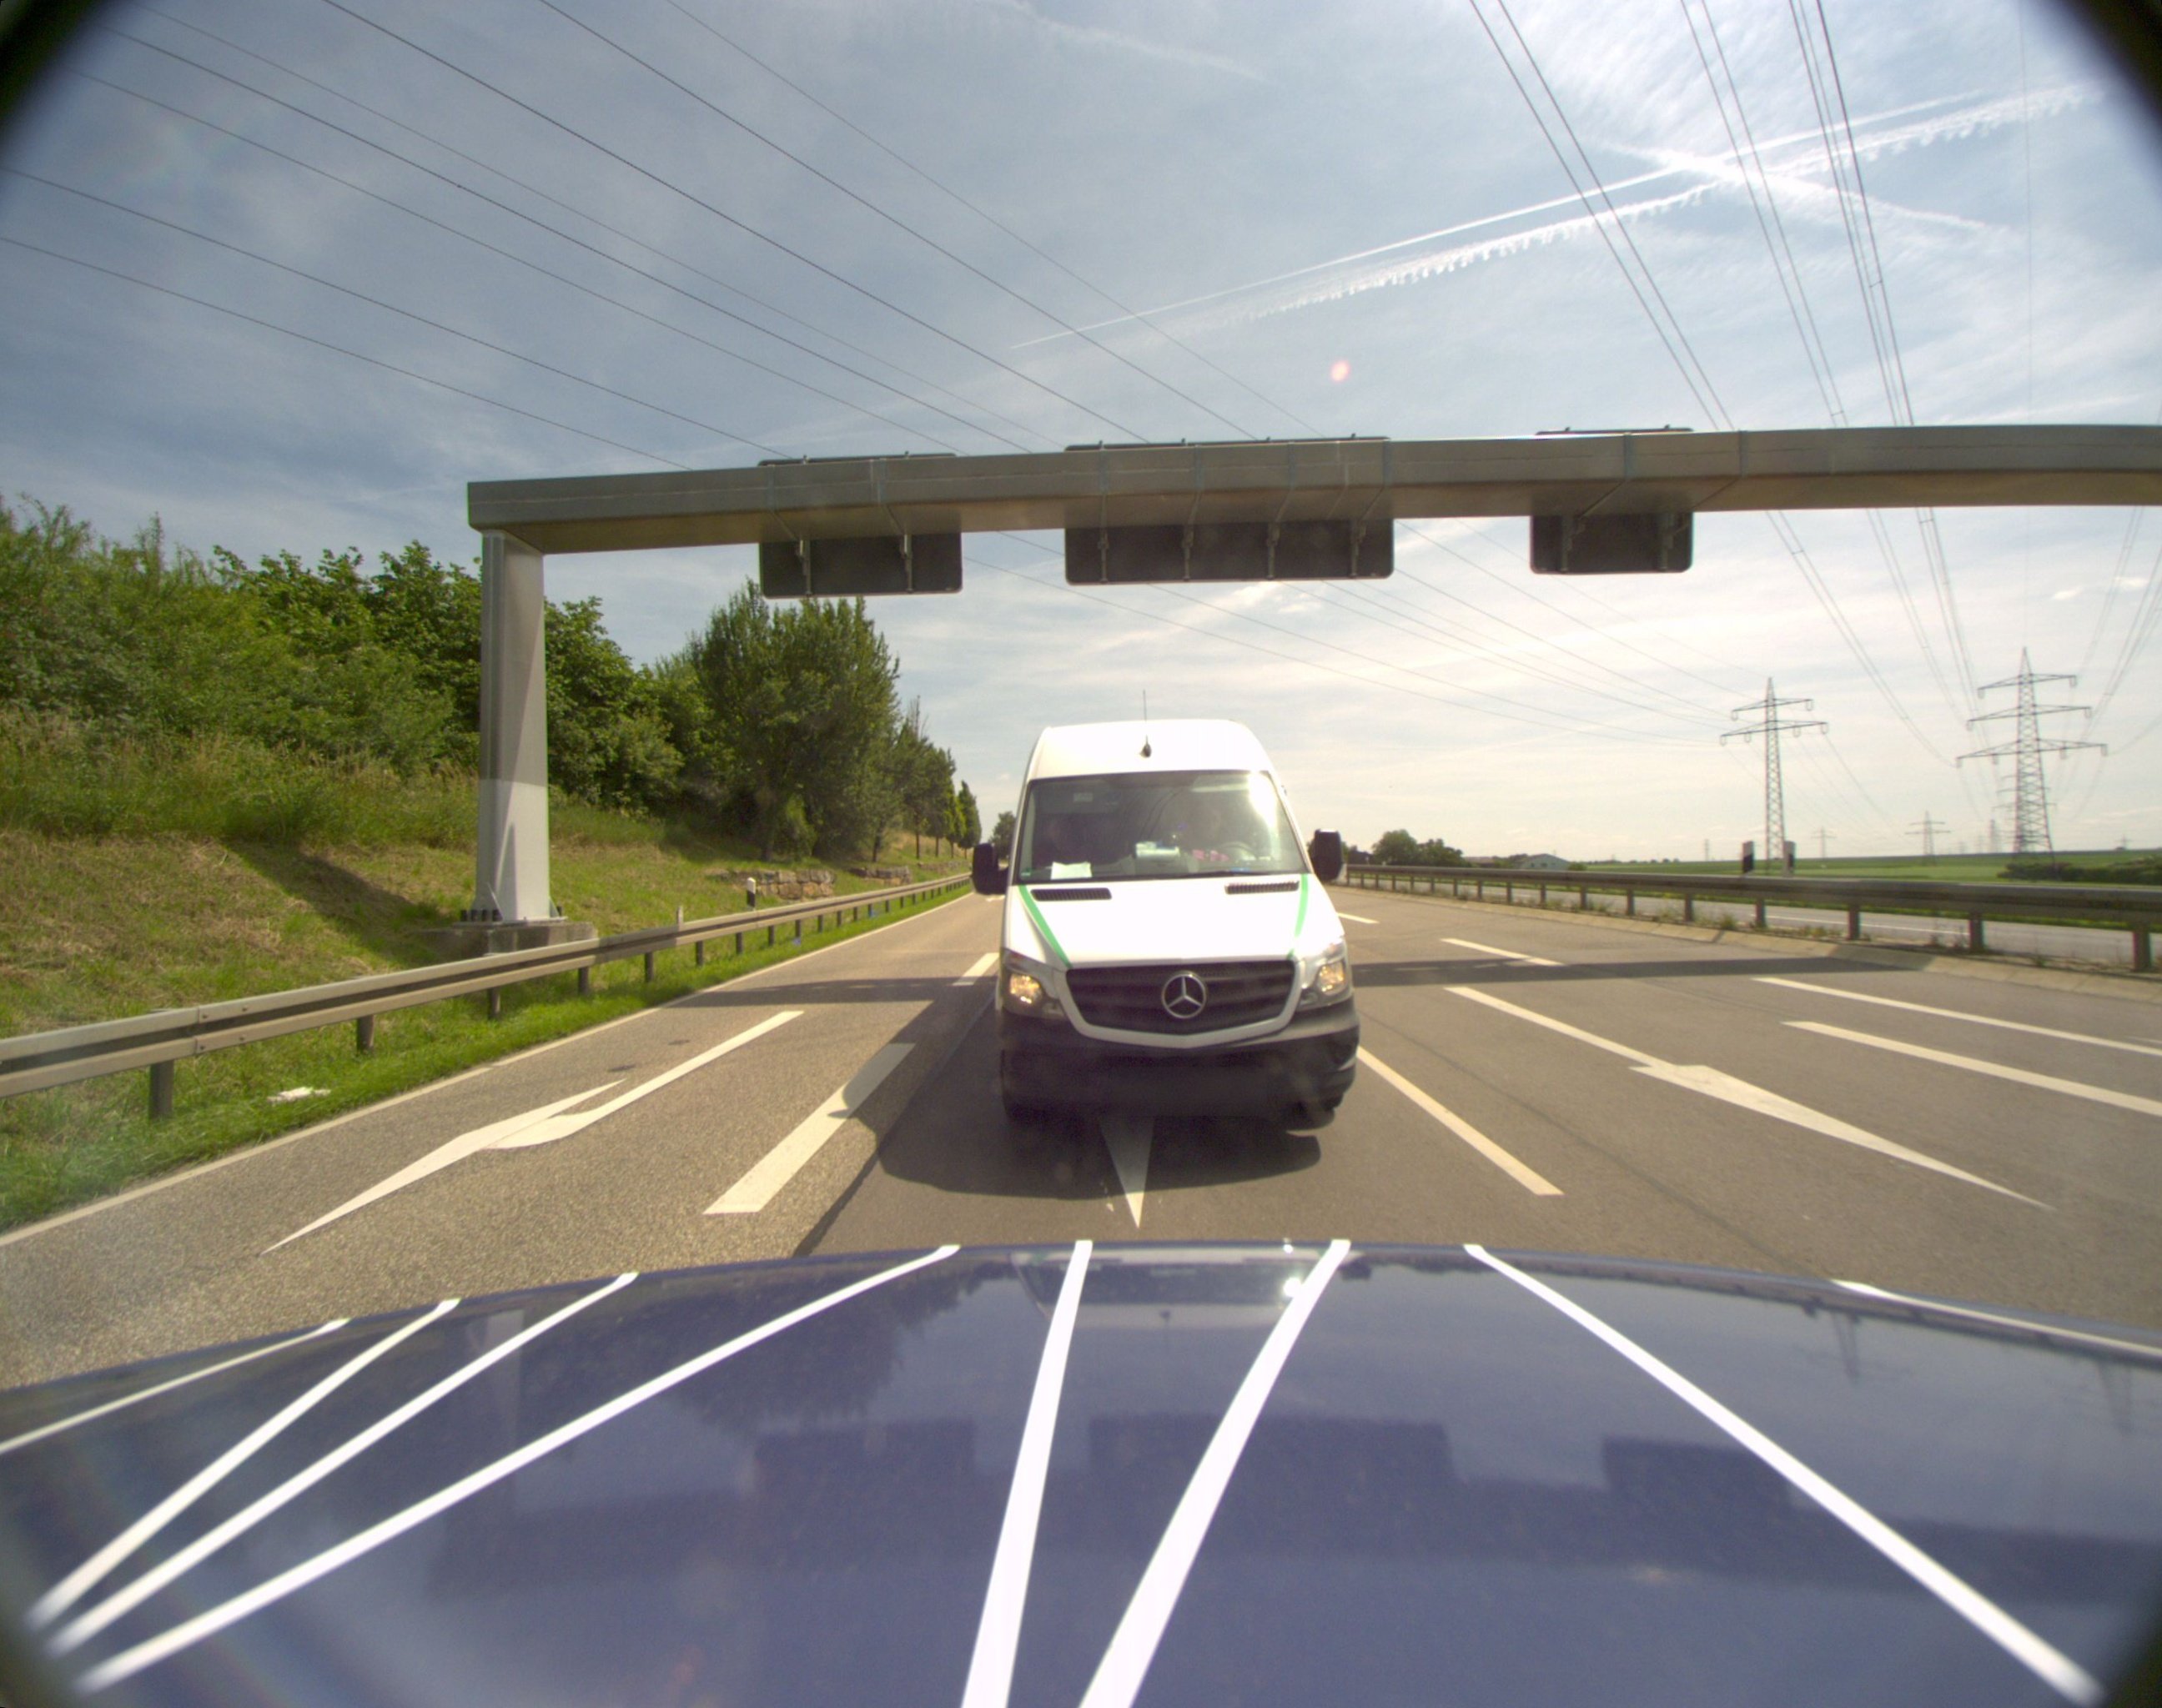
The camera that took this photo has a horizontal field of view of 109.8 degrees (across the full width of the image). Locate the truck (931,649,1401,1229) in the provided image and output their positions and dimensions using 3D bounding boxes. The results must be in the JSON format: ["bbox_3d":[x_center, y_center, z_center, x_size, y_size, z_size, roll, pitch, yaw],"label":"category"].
[{"bbox_3d":[0.468,0.385,5.917,1.998,2.518,5.105,-2,0,2],"label":"truck"}]
